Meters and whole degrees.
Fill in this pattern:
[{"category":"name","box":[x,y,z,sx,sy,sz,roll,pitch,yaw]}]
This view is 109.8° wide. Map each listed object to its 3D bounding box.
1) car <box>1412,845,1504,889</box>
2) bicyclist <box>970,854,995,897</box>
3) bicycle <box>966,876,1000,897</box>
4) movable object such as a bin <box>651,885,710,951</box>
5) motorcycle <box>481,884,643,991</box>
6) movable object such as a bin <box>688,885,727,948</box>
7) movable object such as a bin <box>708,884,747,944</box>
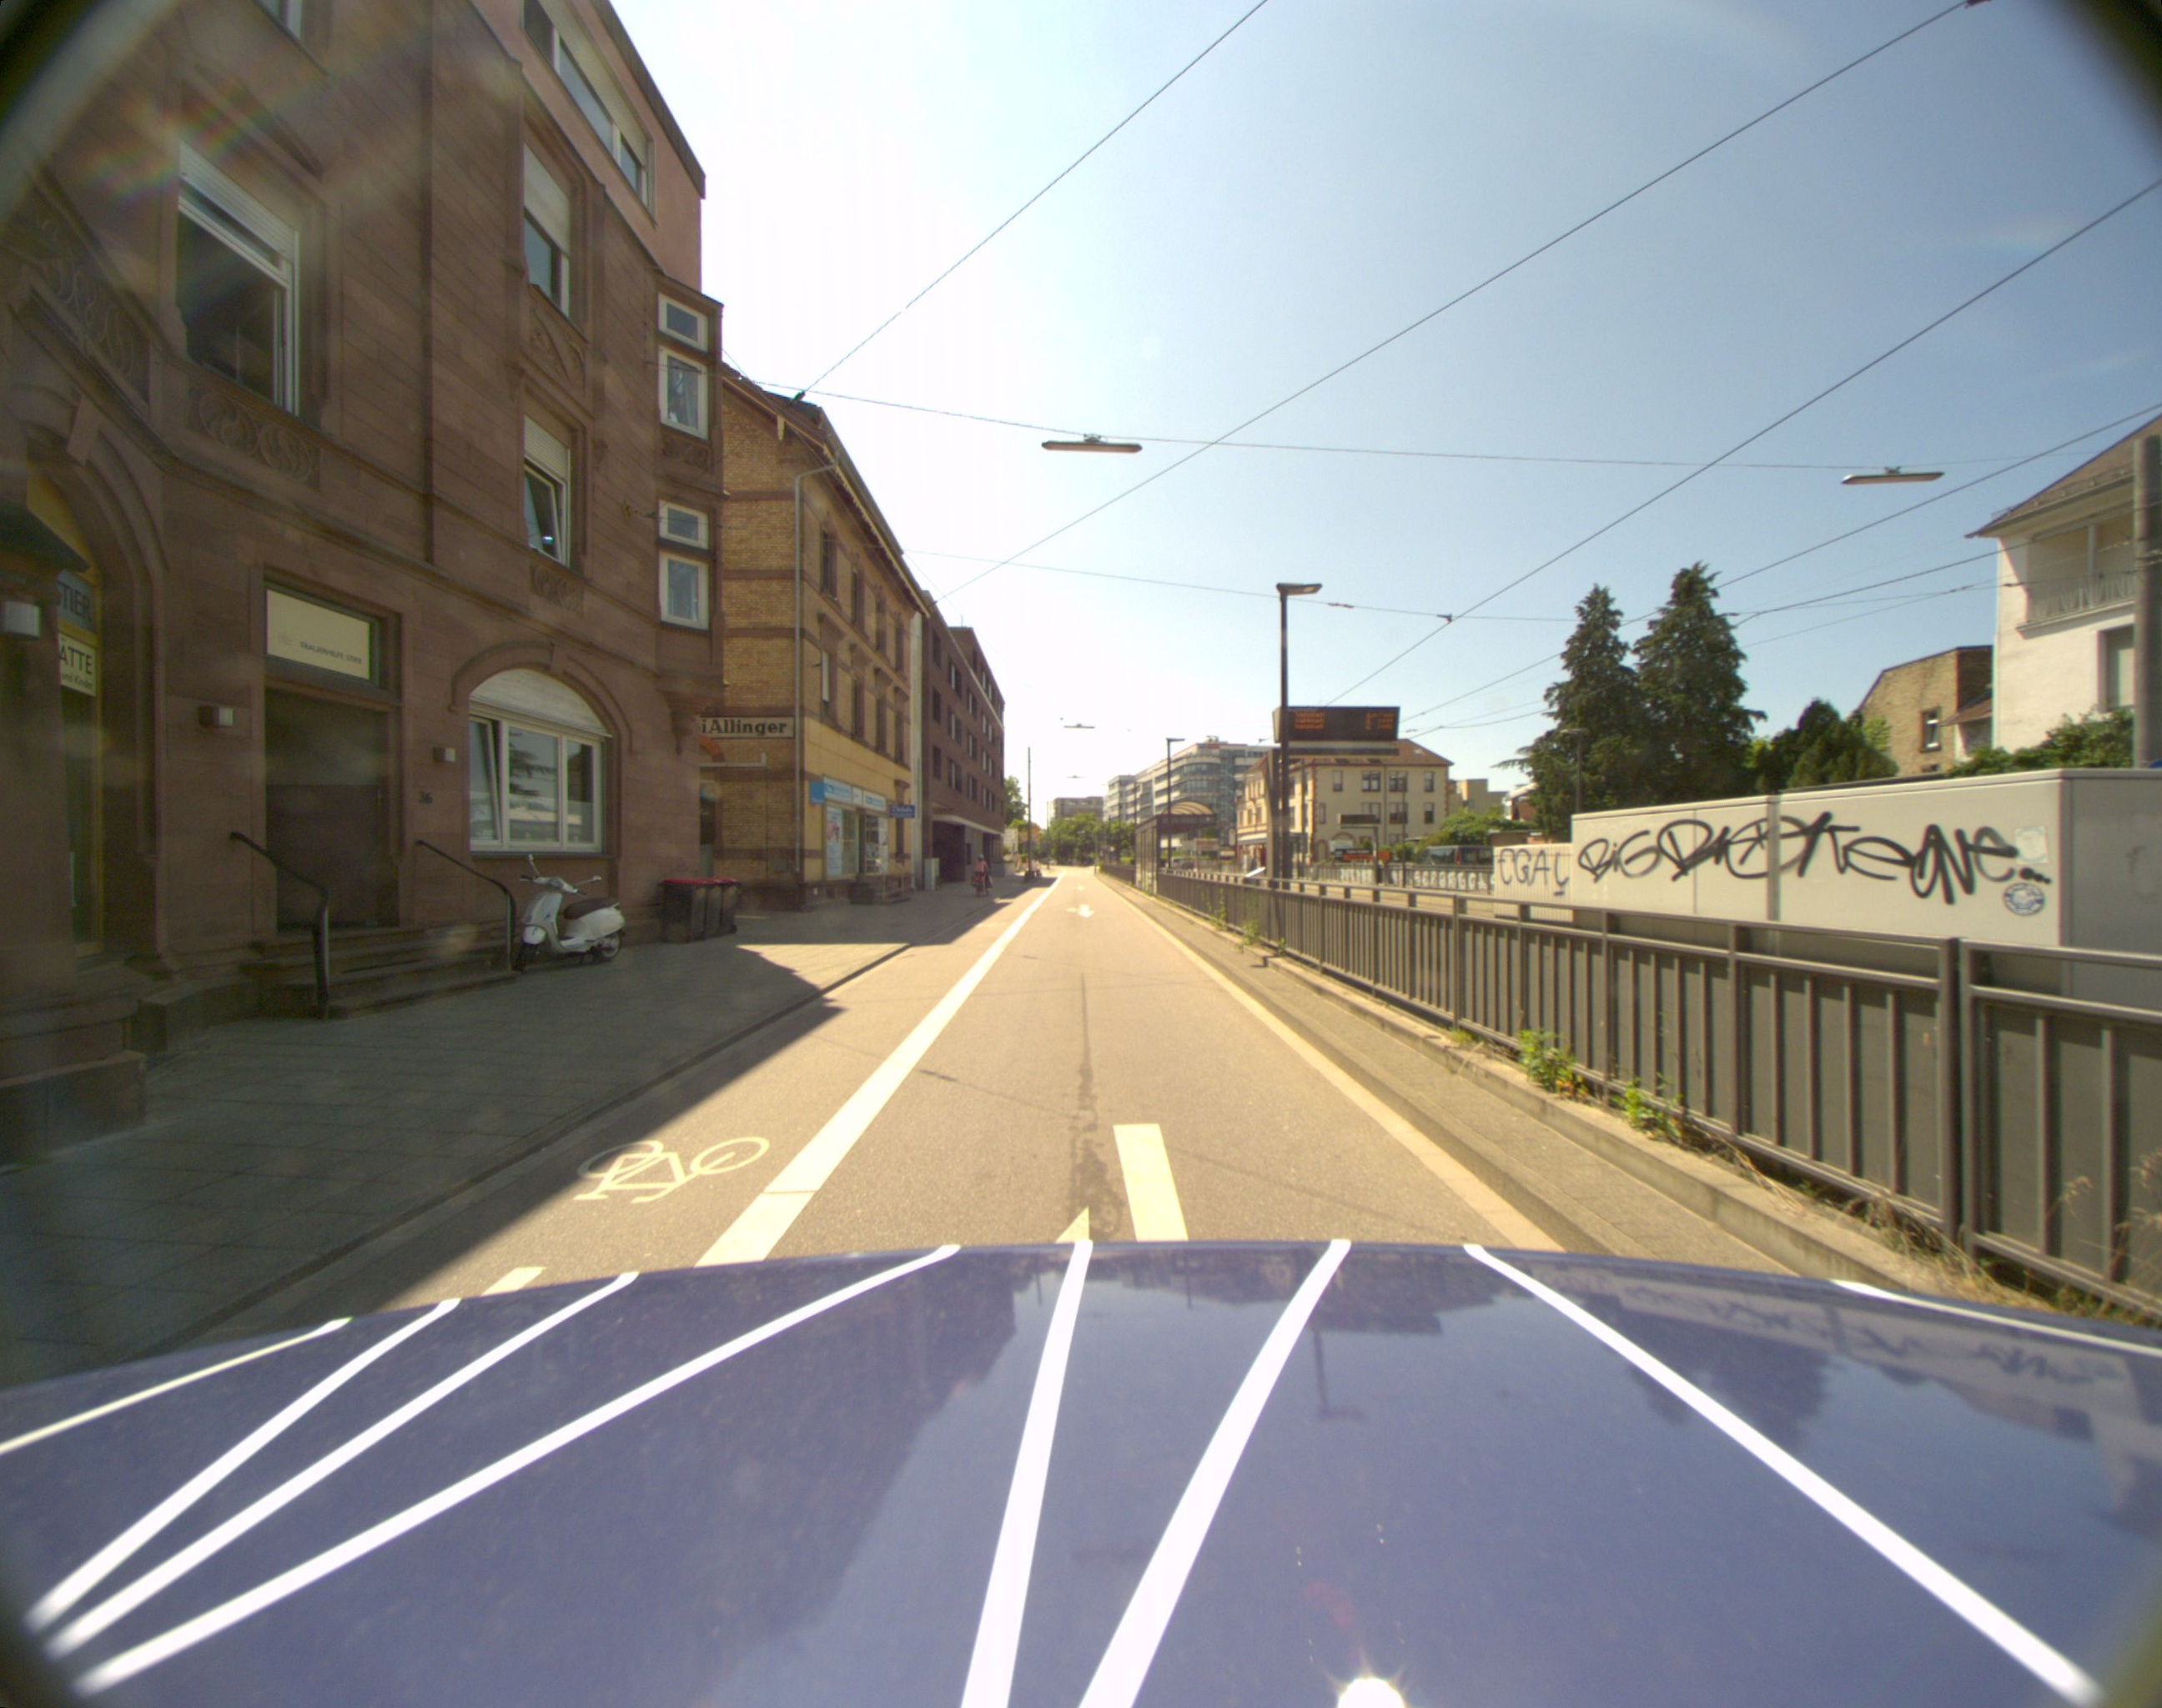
[{"category":"car","box":[16.564,0.542,33.593,1.999,1.827,3.999,-1,0,-1]},{"category":"bicyclist","box":[-4.053,0.870,31.320,0.670,1.712,0.929,0,0,17]},{"category":"bicycle","box":[-4.030,1.335,31.375,0.689,0.793,1.910,-1,0,16]},{"category":"movable object such as a bin","box":[-6.679,1.060,12.693,0.649,1.042,0.559,2,0,-1]},{"category":"motorcycle","box":[-6.435,0.985,9.555,0.527,1.142,1.881,0,0,8]},{"category":"movable object such as a bin","box":[-6.519,1.079,13.275,0.376,1.042,0.559,2,0,0]},{"category":"movable object such as a bin","box":[-6.467,1.081,13.908,0.376,1.042,0.657,2,0,0]}]
